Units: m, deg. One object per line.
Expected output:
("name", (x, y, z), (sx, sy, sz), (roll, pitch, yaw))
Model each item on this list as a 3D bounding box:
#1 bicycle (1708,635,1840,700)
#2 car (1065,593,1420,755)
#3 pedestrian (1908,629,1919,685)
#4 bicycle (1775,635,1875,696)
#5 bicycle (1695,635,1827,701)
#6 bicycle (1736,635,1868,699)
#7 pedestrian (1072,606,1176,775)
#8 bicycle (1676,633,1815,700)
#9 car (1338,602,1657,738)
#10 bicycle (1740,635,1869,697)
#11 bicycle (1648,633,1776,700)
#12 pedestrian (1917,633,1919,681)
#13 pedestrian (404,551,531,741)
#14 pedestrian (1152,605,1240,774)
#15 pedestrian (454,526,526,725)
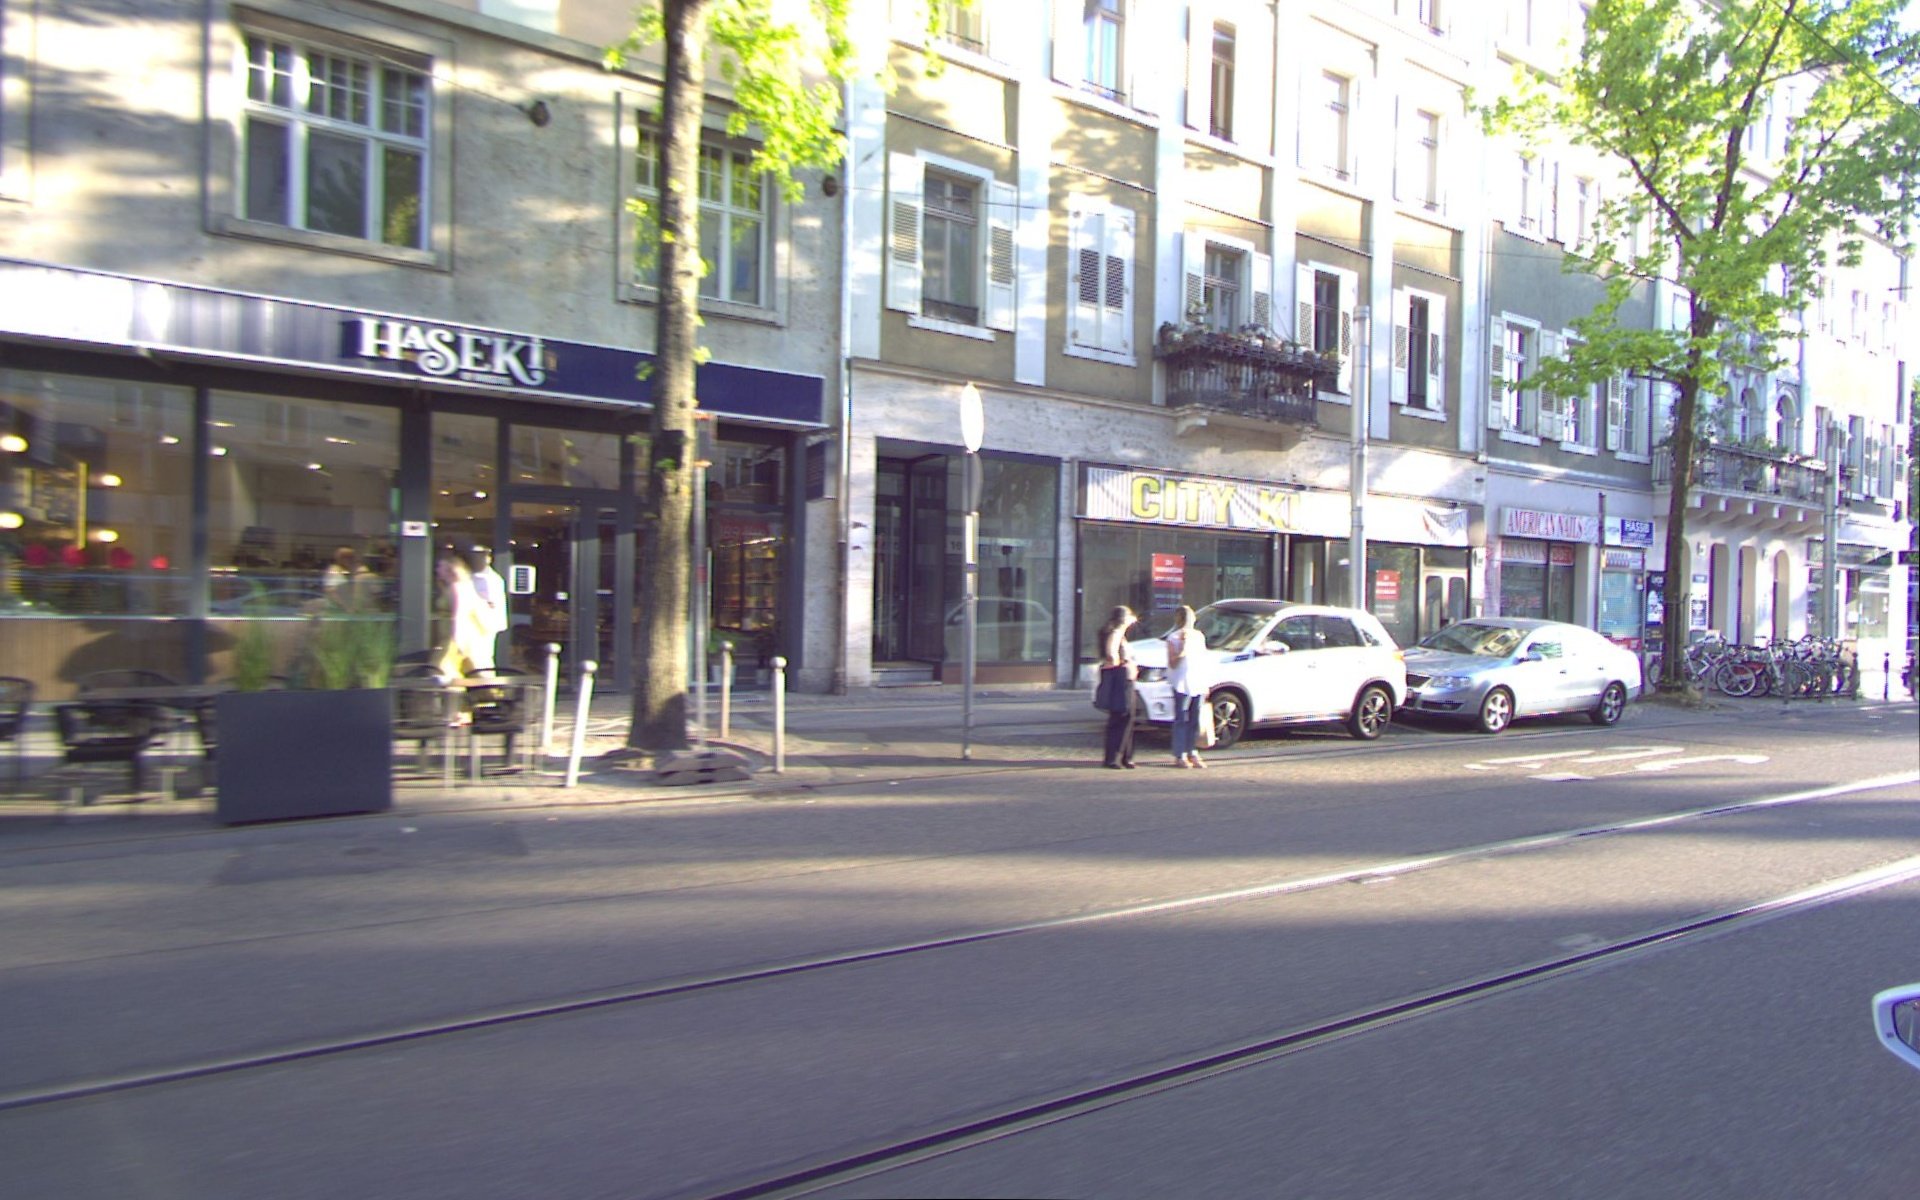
("bicycle", (16.459, 1.344, 20.368), (1.997, 1.119, 0.499), (3, 1, 36))
("car", (3.515, 0.819, 12.402), (4.067, 1.601, 1.827), (1, 3, -29))
("pedestrian", (23.243, 1.364, 23.943), (0.847, 1.308, 0.724), (1, 1, -32))
("bicycle", (18.467, 1.375, 21.506), (0.491, 1.119, 2.031), (3, 1, 5))
("bicycle", (15.949, 1.338, 20.068), (1.997, 1.119, 0.499), (3, 1, 36))
("bicycle", (17.276, 1.359, 20.683), (0.494, 1.119, 2.016), (2, 1, -26))
("pedestrian", (1.555, 0.837, 9.561), (0.721, 1.529, 0.617), (2, -1, -29))
("bicycle", (15.408, 1.284, 19.767), (2.080, 1.119, 0.499), (3, 1, 36))
("car", (7.881, 0.932, 14.635), (4.645, 1.601, 1.827), (1, 3, -30))
("bicycle", (17.700, 1.365, 21.115), (0.494, 1.119, 2.016), (2, 1, -26))
("bicycle", (14.562, 1.269, 19.505), (1.920, 1.119, 0.565), (3, 1, 36))
("pedestrian", (24.448, 1.444, 25.115), (0.635, 1.210, 0.588), (1, 1, -32))
("pedestrian", (-4.901, 0.436, 9.994), (1.077, 1.784, 0.718), (1, 0, -30))
("pedestrian", (2.315, 0.859, 9.875), (0.626, 1.590, 0.519), (2, -1, -29))
("pedestrian", (-5.054, 0.262, 10.785), (0.635, 2.040, 0.718), (1, 0, -29))
